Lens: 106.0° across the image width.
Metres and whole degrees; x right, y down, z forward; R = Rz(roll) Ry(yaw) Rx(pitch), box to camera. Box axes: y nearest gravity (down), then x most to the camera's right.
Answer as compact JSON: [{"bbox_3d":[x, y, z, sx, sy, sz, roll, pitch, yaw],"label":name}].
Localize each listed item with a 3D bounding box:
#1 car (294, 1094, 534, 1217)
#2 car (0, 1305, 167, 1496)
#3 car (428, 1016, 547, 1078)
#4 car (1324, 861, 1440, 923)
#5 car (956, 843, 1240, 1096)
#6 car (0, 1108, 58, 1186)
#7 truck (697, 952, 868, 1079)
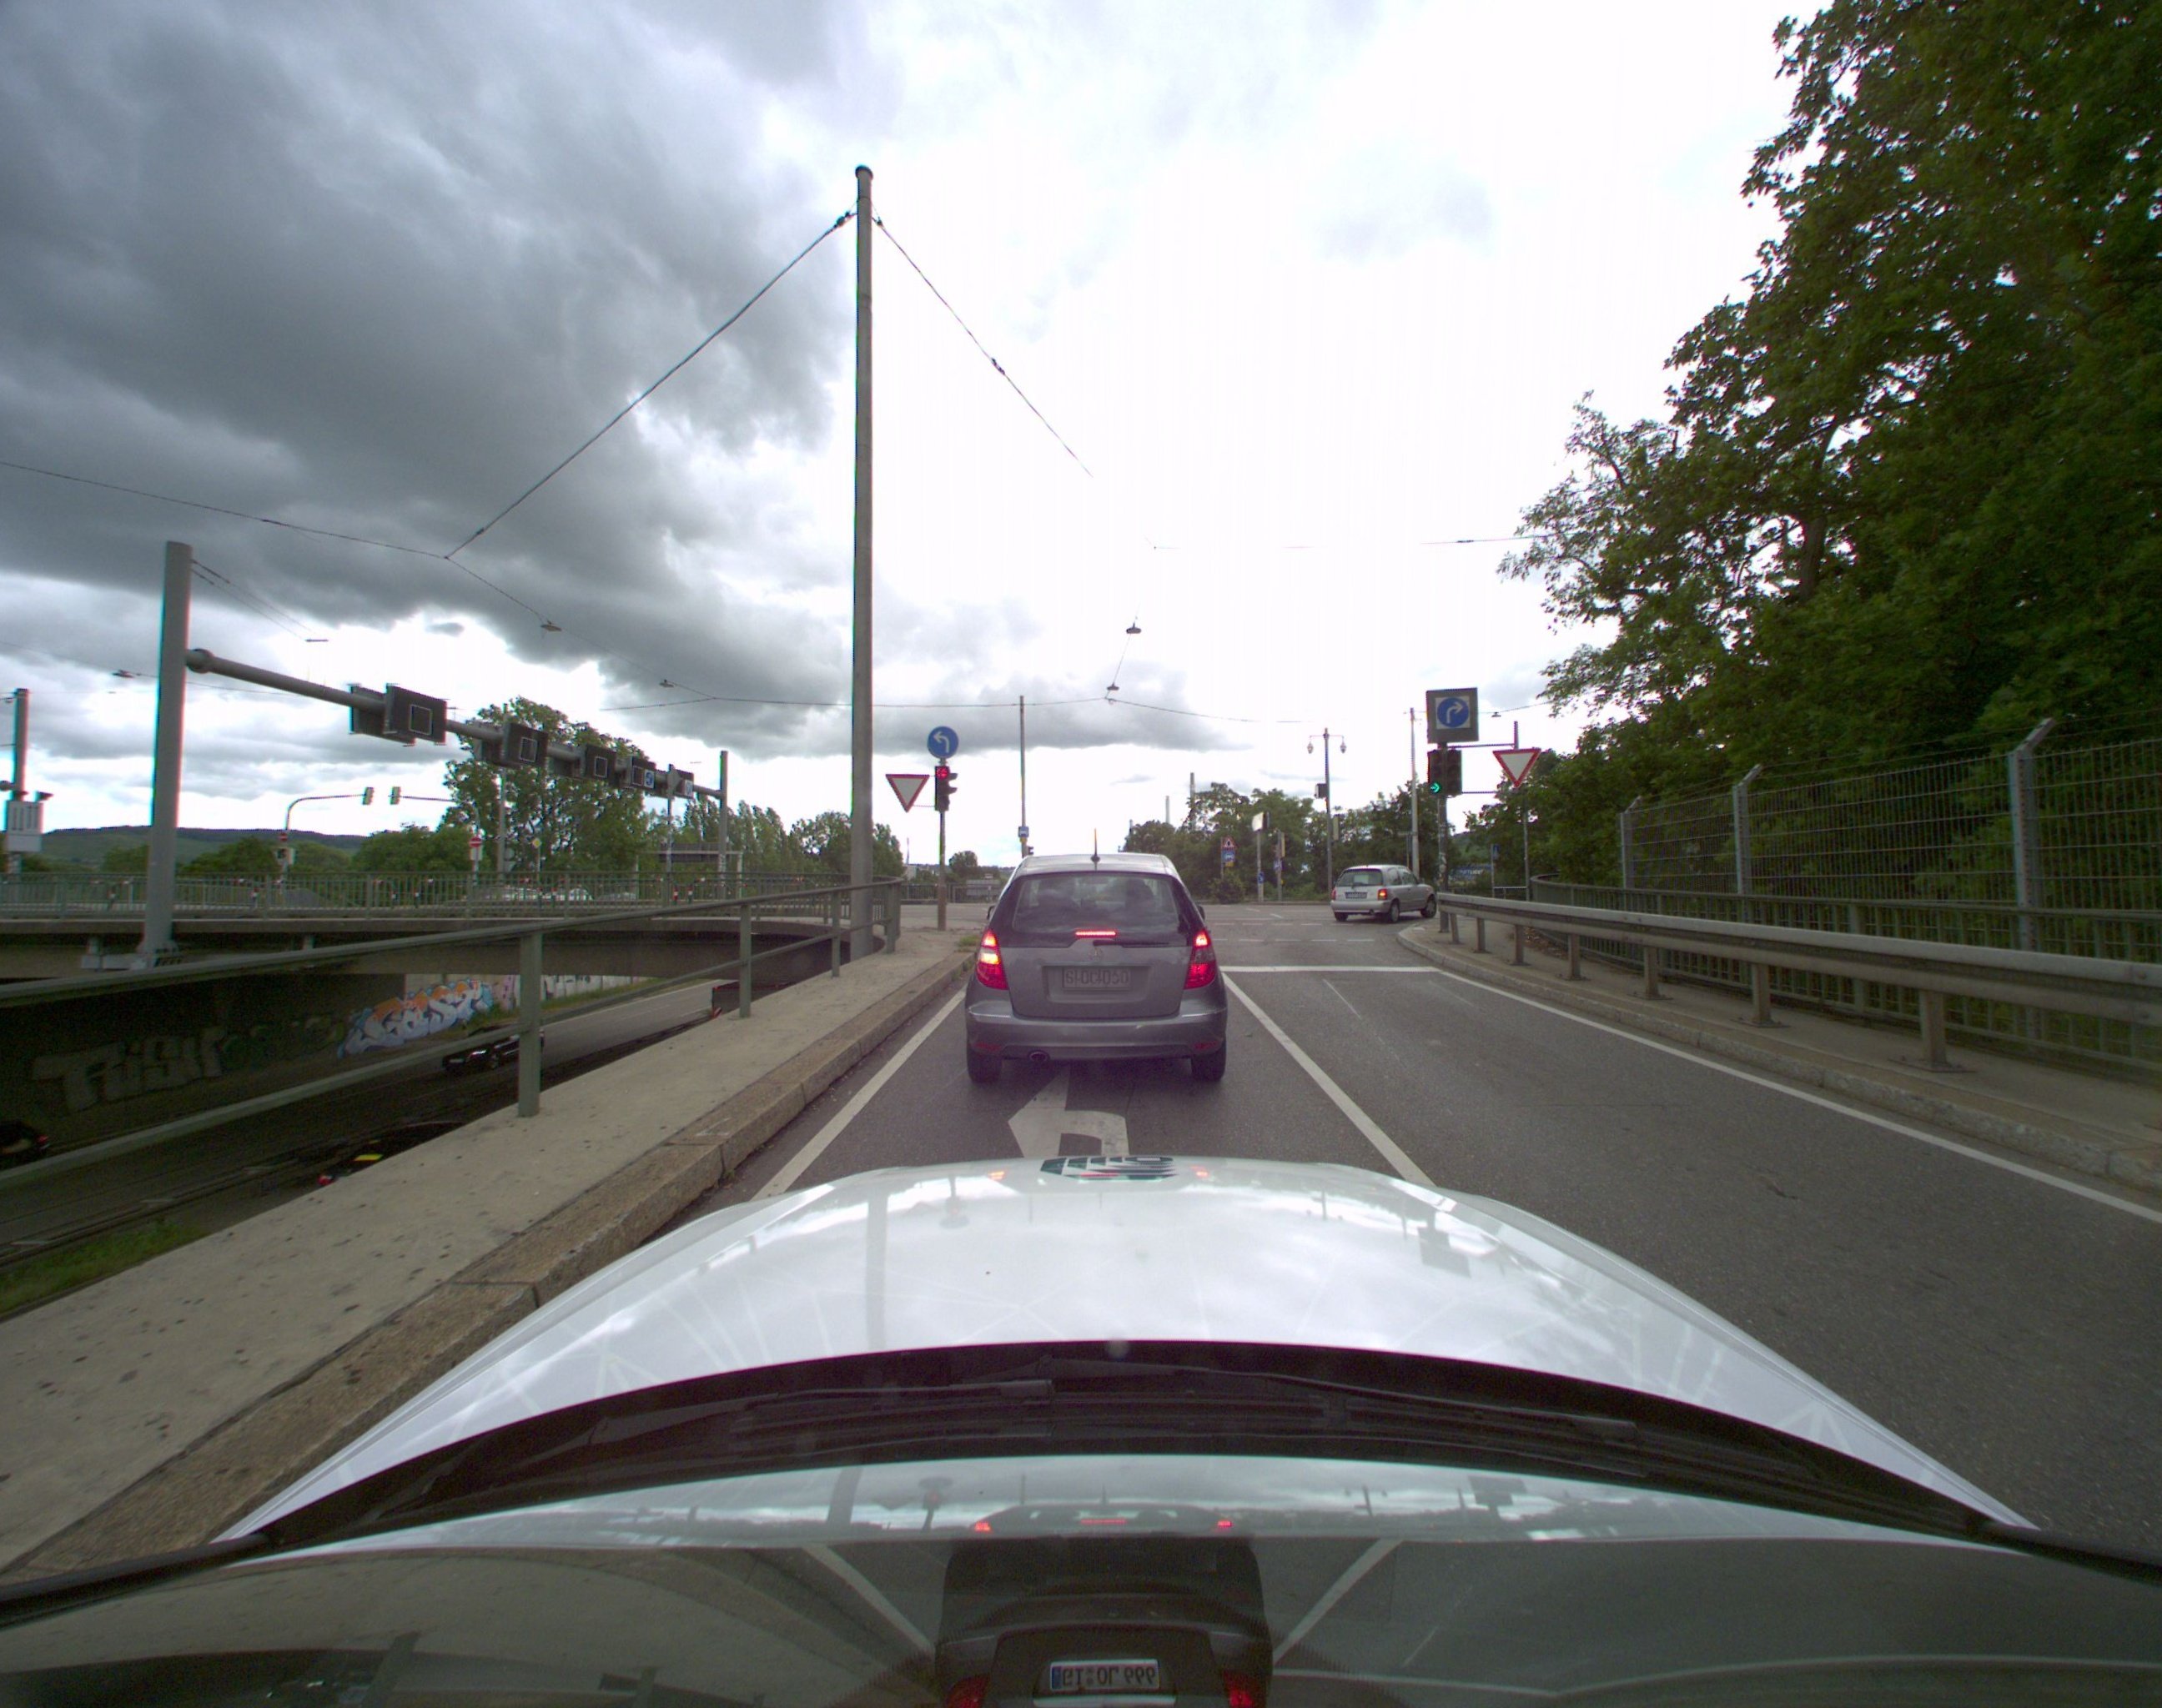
[{"bbox_3d":[-15.566,7.010,19.393,1.850,1.465,4.427,-1,-3,3],"label":"car"},{"bbox_3d":[-12.905,6.476,8.559,1.778,1.302,4.155,-3,-3,3],"label":"car"},{"bbox_3d":[-24.849,8.055,34.311,1.875,1.719,4.183,-2,-3,2],"label":"car"},{"bbox_3d":[7.847,0.917,21.093,1.570,1.431,3.463,-1,-1,43],"label":"car"},{"bbox_3d":[0.162,0.724,6.776,1.733,1.543,3.542,0,-1,2],"label":"car"},{"bbox_3d":[-28.289,7.540,19.406,1.853,1.652,4.634,-2,-3,2],"label":"car"},{"bbox_3d":[-11.743,6.237,33.432,2.871,3.526,9.875,-3,-3,2],"label":"truck"}]
